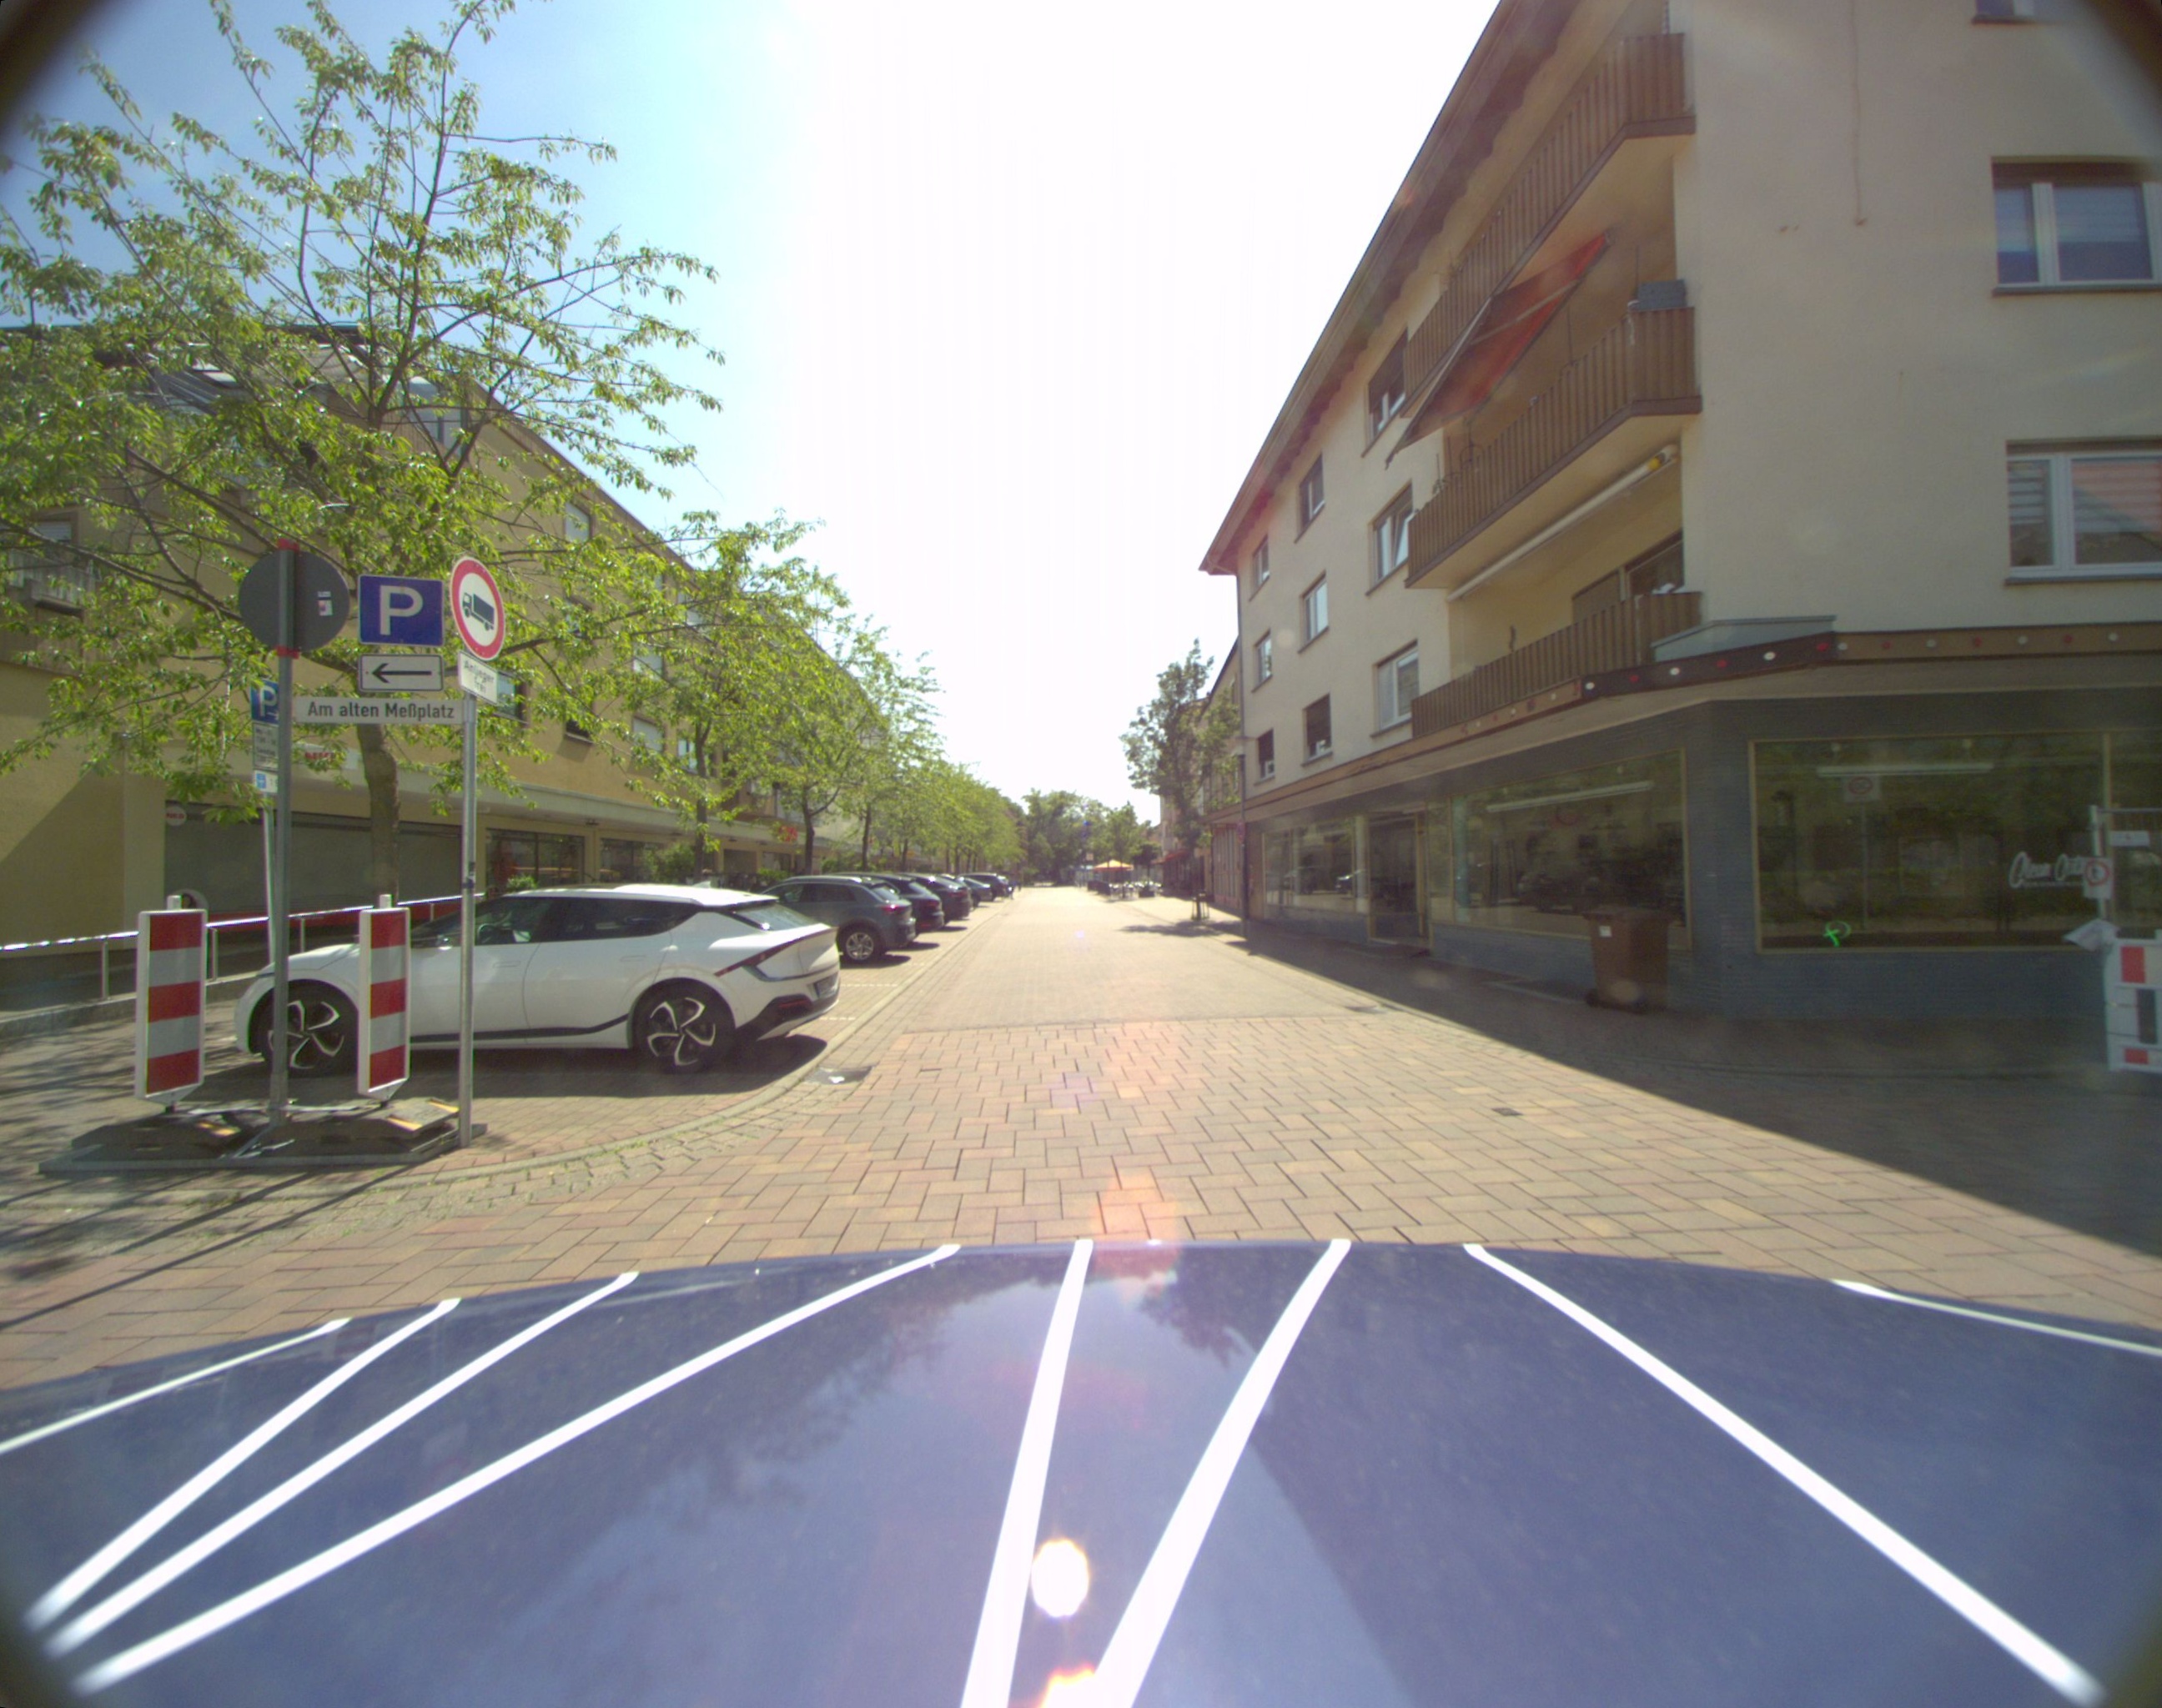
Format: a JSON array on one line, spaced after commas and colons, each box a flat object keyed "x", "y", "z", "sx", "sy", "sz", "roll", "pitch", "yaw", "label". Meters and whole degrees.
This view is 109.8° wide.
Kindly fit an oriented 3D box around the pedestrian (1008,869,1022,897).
[{"x": -4.193, "y": 1.863, "z": 48.377, "sx": 0.759, "sy": 1.770, "sz": 0.870, "roll": -1, "pitch": -1, "yaw": 5, "label": "pedestrian"}]

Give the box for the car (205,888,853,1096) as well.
[{"x": -4.555, "y": 1.133, "z": 6.860, "sx": 4.452, "sy": 1.566, "sz": 1.789, "roll": 1, "pitch": -1, "yaw": -2, "label": "car"}]

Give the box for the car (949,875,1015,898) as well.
[{"x": -7.197, "y": 2.345, "z": 55.415, "sx": 4.587, "sy": 1.534, "sz": 1.807, "roll": -1, "pitch": -1, "yaw": -2, "label": "car"}]

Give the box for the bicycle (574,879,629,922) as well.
[{"x": -13.381, "y": 1.270, "z": 21.268, "sx": 0.413, "sy": 1.117, "sz": 1.774, "roll": -2, "pitch": -1, "yaw": -1, "label": "bicycle"}]

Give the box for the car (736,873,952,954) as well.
[{"x": -5.155, "y": 1.277, "z": 17.069, "sx": 4.291, "sy": 1.671, "sz": 2.000, "roll": 0, "pitch": -1, "yaw": -5, "label": "car"}]

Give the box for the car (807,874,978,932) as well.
[{"x": -5.390, "y": 1.404, "z": 22.169, "sx": 4.520, "sy": 1.579, "sz": 1.850, "roll": 0, "pitch": -1, "yaw": -1, "label": "car"}]

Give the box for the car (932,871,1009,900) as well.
[{"x": -6.361, "y": 1.821, "z": 44.026, "sx": 4.256, "sy": 1.608, "sz": 1.756, "roll": 1, "pitch": -1, "yaw": -4, "label": "car"}]

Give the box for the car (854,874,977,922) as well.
[{"x": -5.791, "y": 1.540, "z": 27.021, "sx": 4.038, "sy": 1.602, "sz": 1.681, "roll": 1, "pitch": -1, "yaw": -4, "label": "car"}]

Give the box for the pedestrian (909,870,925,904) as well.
[{"x": -8.759, "y": 1.746, "z": 40.528, "sx": 0.607, "sy": 1.785, "sz": 0.626, "roll": -1, "pitch": -1, "yaw": -31, "label": "pedestrian"}]

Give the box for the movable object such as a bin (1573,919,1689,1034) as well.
[{"x": 5.634, "y": 1.231, "z": 7.810, "sx": 0.657, "sy": 1.064, "sz": 0.663, "roll": -2, "pitch": -1, "yaw": -9, "label": "movable object such as a bin"}]

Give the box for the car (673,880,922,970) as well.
[{"x": -5.133, "y": 1.281, "z": 14.215, "sx": 3.955, "sy": 1.524, "sz": 1.823, "roll": 1, "pitch": -1, "yaw": -4, "label": "car"}]

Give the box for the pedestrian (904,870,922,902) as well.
[{"x": -9.182, "y": 1.739, "z": 41.512, "sx": 0.614, "sy": 1.720, "sz": 0.649, "roll": -2, "pitch": 0, "yaw": 31, "label": "pedestrian"}]

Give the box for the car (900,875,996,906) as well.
[{"x": -6.624, "y": 1.805, "z": 37.862, "sx": 4.392, "sy": 1.454, "sz": 1.887, "roll": 1, "pitch": -1, "yaw": -21, "label": "car"}]

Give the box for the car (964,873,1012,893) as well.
[{"x": -7.377, "y": 2.309, "z": 60.488, "sx": 3.653, "sy": 1.508, "sz": 1.633, "roll": 1, "pitch": -1, "yaw": -2, "label": "car"}]

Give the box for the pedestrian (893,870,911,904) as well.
[{"x": -9.437, "y": 1.741, "z": 40.021, "sx": 0.633, "sy": 1.762, "sz": 0.685, "roll": -1, "pitch": -1, "yaw": -40, "label": "pedestrian"}]
